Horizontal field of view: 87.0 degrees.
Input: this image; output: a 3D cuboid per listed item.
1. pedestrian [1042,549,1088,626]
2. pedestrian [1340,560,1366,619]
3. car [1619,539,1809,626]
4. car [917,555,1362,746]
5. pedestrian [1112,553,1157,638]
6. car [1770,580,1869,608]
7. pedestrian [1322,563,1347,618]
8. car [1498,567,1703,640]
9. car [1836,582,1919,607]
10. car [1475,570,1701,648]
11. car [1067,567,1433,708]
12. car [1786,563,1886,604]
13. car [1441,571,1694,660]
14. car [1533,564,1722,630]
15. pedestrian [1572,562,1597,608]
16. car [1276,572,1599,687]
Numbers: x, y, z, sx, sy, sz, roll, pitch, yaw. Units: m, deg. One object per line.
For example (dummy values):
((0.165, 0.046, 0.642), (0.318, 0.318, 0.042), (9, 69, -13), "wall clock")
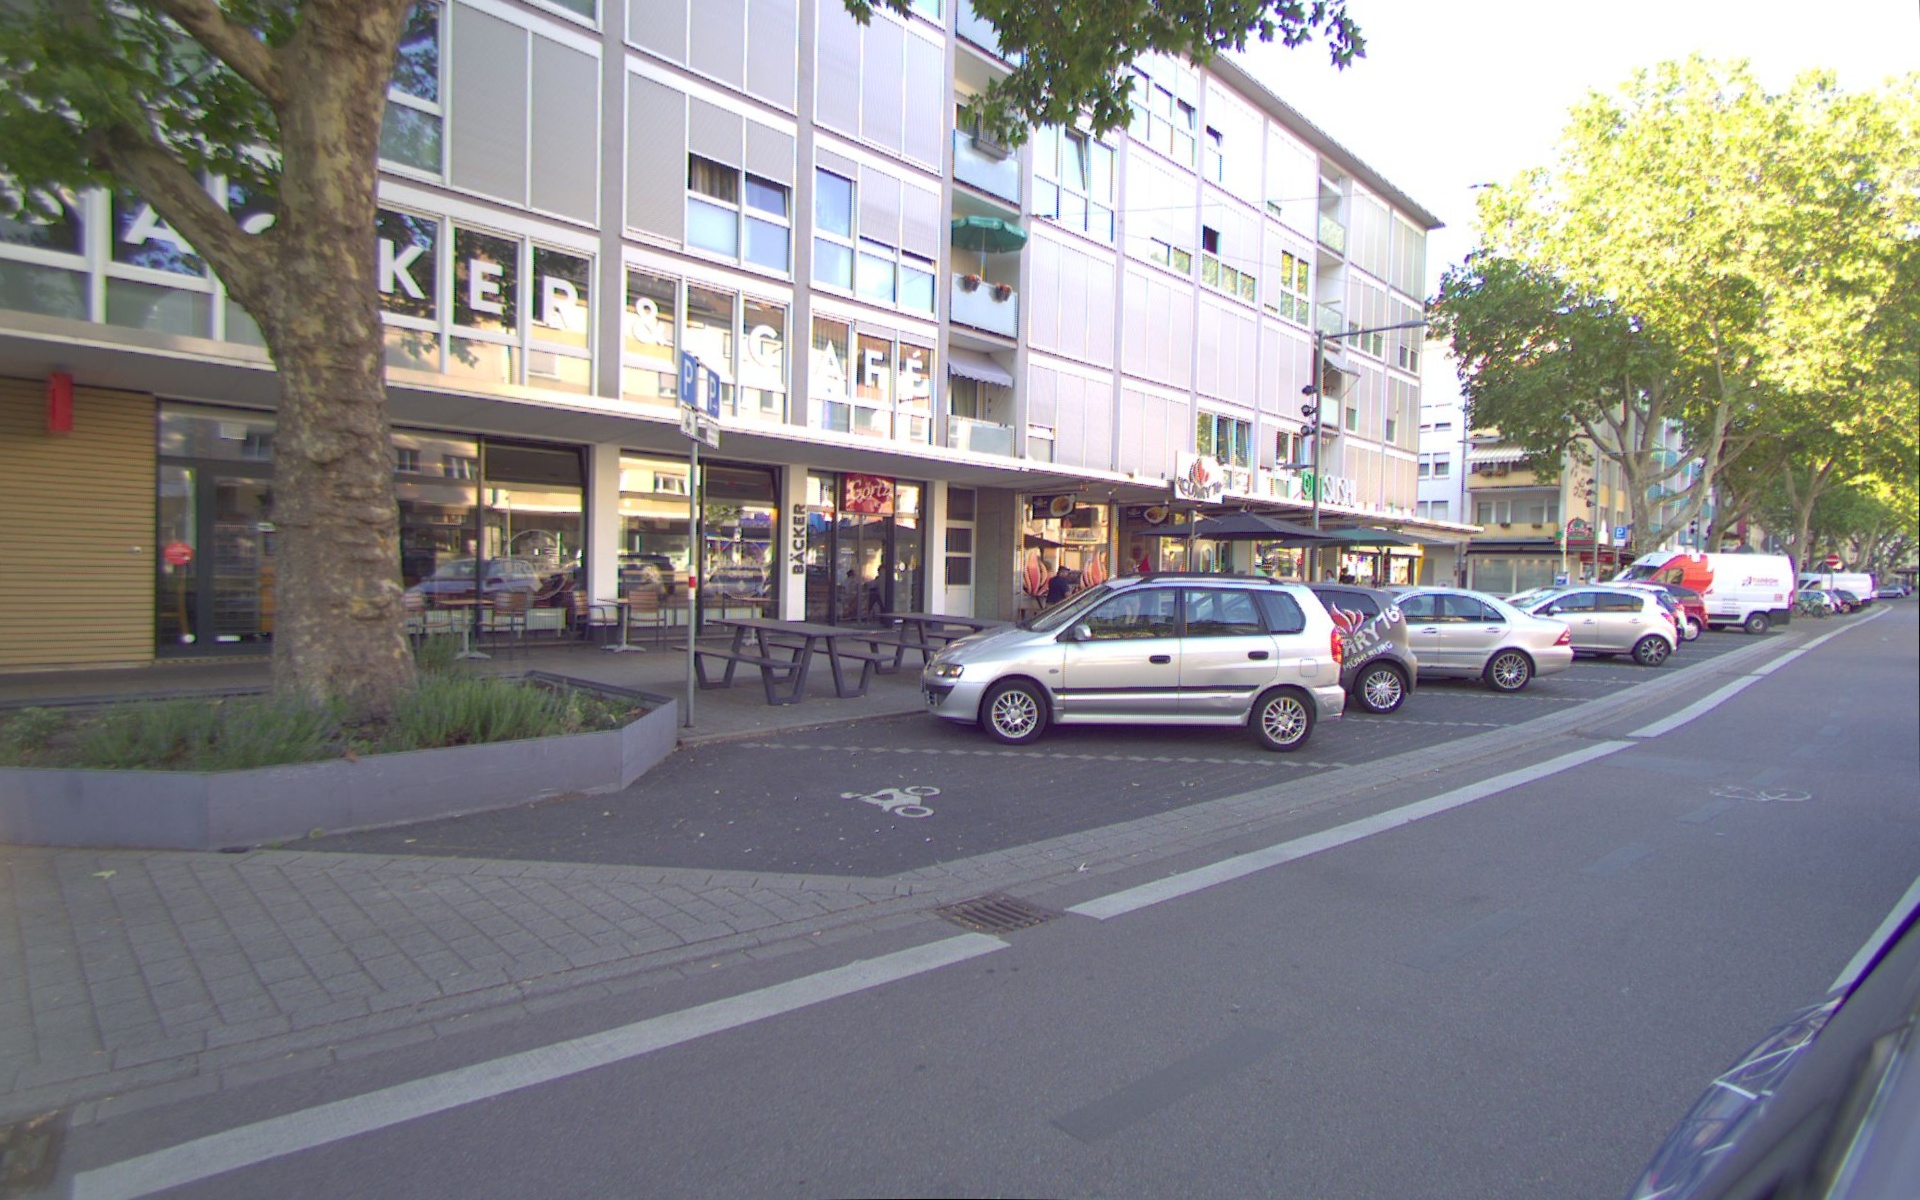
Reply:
((2.222, -0.267, 21.394), (0.757, 1.602, 0.583), (0, 2, -39), "pedestrian")
((11.751, -0.308, 30.256), (0.544, 1.741, 0.450), (2, 2, 45), "pedestrian")
((23.783, -0.571, 32.061), (4.514, 2.525, 1.675), (2, 1, 5), "car")
((1.572, 0.425, 9.831), (3.906, 1.560, 1.679), (2, 3, -3), "car")
((3.371, -0.097, 19.558), (0.559, 1.596, 0.632), (2, 2, 44), "pedestrian")
((48.068, -0.355, 56.643), (3.864, 1.422, 1.782), (1, 2, 3), "car")
((11.364, -0.295, 30.677), (0.536, 1.660, 0.470), (2, 2, 45), "pedestrian")
((15.856, 0.037, 25.279), (3.888, 1.445, 1.669), (4, 5, 17), "car")
((56.277, -0.343, 61.768), (3.864, 1.350, 1.782), (1, 2, 3), "car")
((13.959, 0.151, 22.733), (3.886, 1.446, 1.670), (3, 3, 16), "car")
((3.380, 0.406, 12.287), (3.864, 1.446, 1.679), (2, 3, -3), "car")
((56.328, -1.081, 65.138), (4.512, 2.499, 1.977), (1, 2, 3), "car")
((11.772, 0.266, 19.812), (3.871, 1.446, 1.559), (3, 3, 4), "car")
((18.069, -0.124, 27.604), (3.891, 1.445, 1.668), (4, 5, 19), "car")
((27.629, -0.667, 44.760), (0.746, 2.038, 0.752), (3, 2, 45), "pedestrian")
((6.846, 0.389, 14.788), (3.867, 1.418, 1.598), (2, 3, 1), "car")
